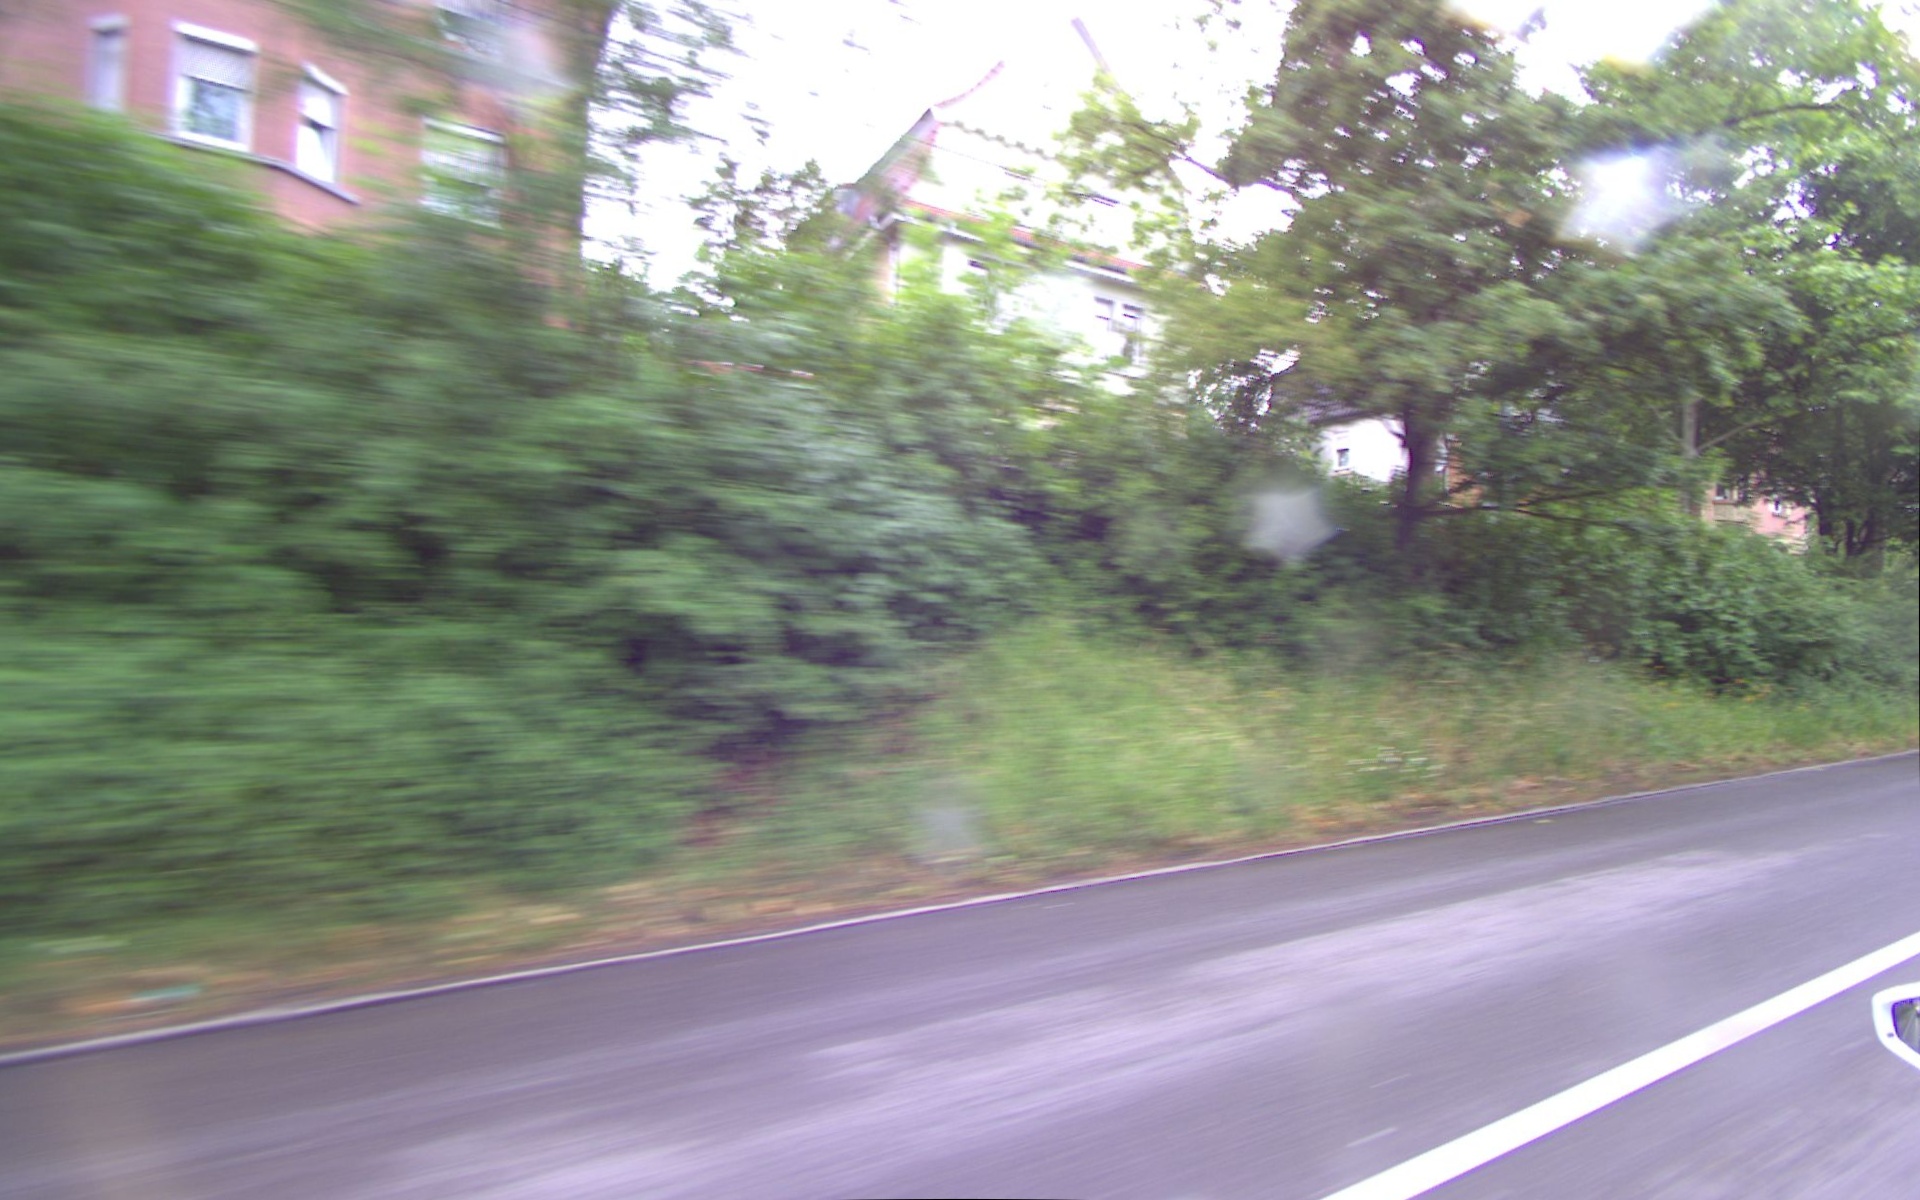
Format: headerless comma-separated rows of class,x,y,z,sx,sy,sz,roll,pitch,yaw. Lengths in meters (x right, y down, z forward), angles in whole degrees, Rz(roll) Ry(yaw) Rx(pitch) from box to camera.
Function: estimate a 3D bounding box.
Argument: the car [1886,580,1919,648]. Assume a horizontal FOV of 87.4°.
car,30.629,0.485,30.924,4.577,2.040,1.982,2,0,-33
